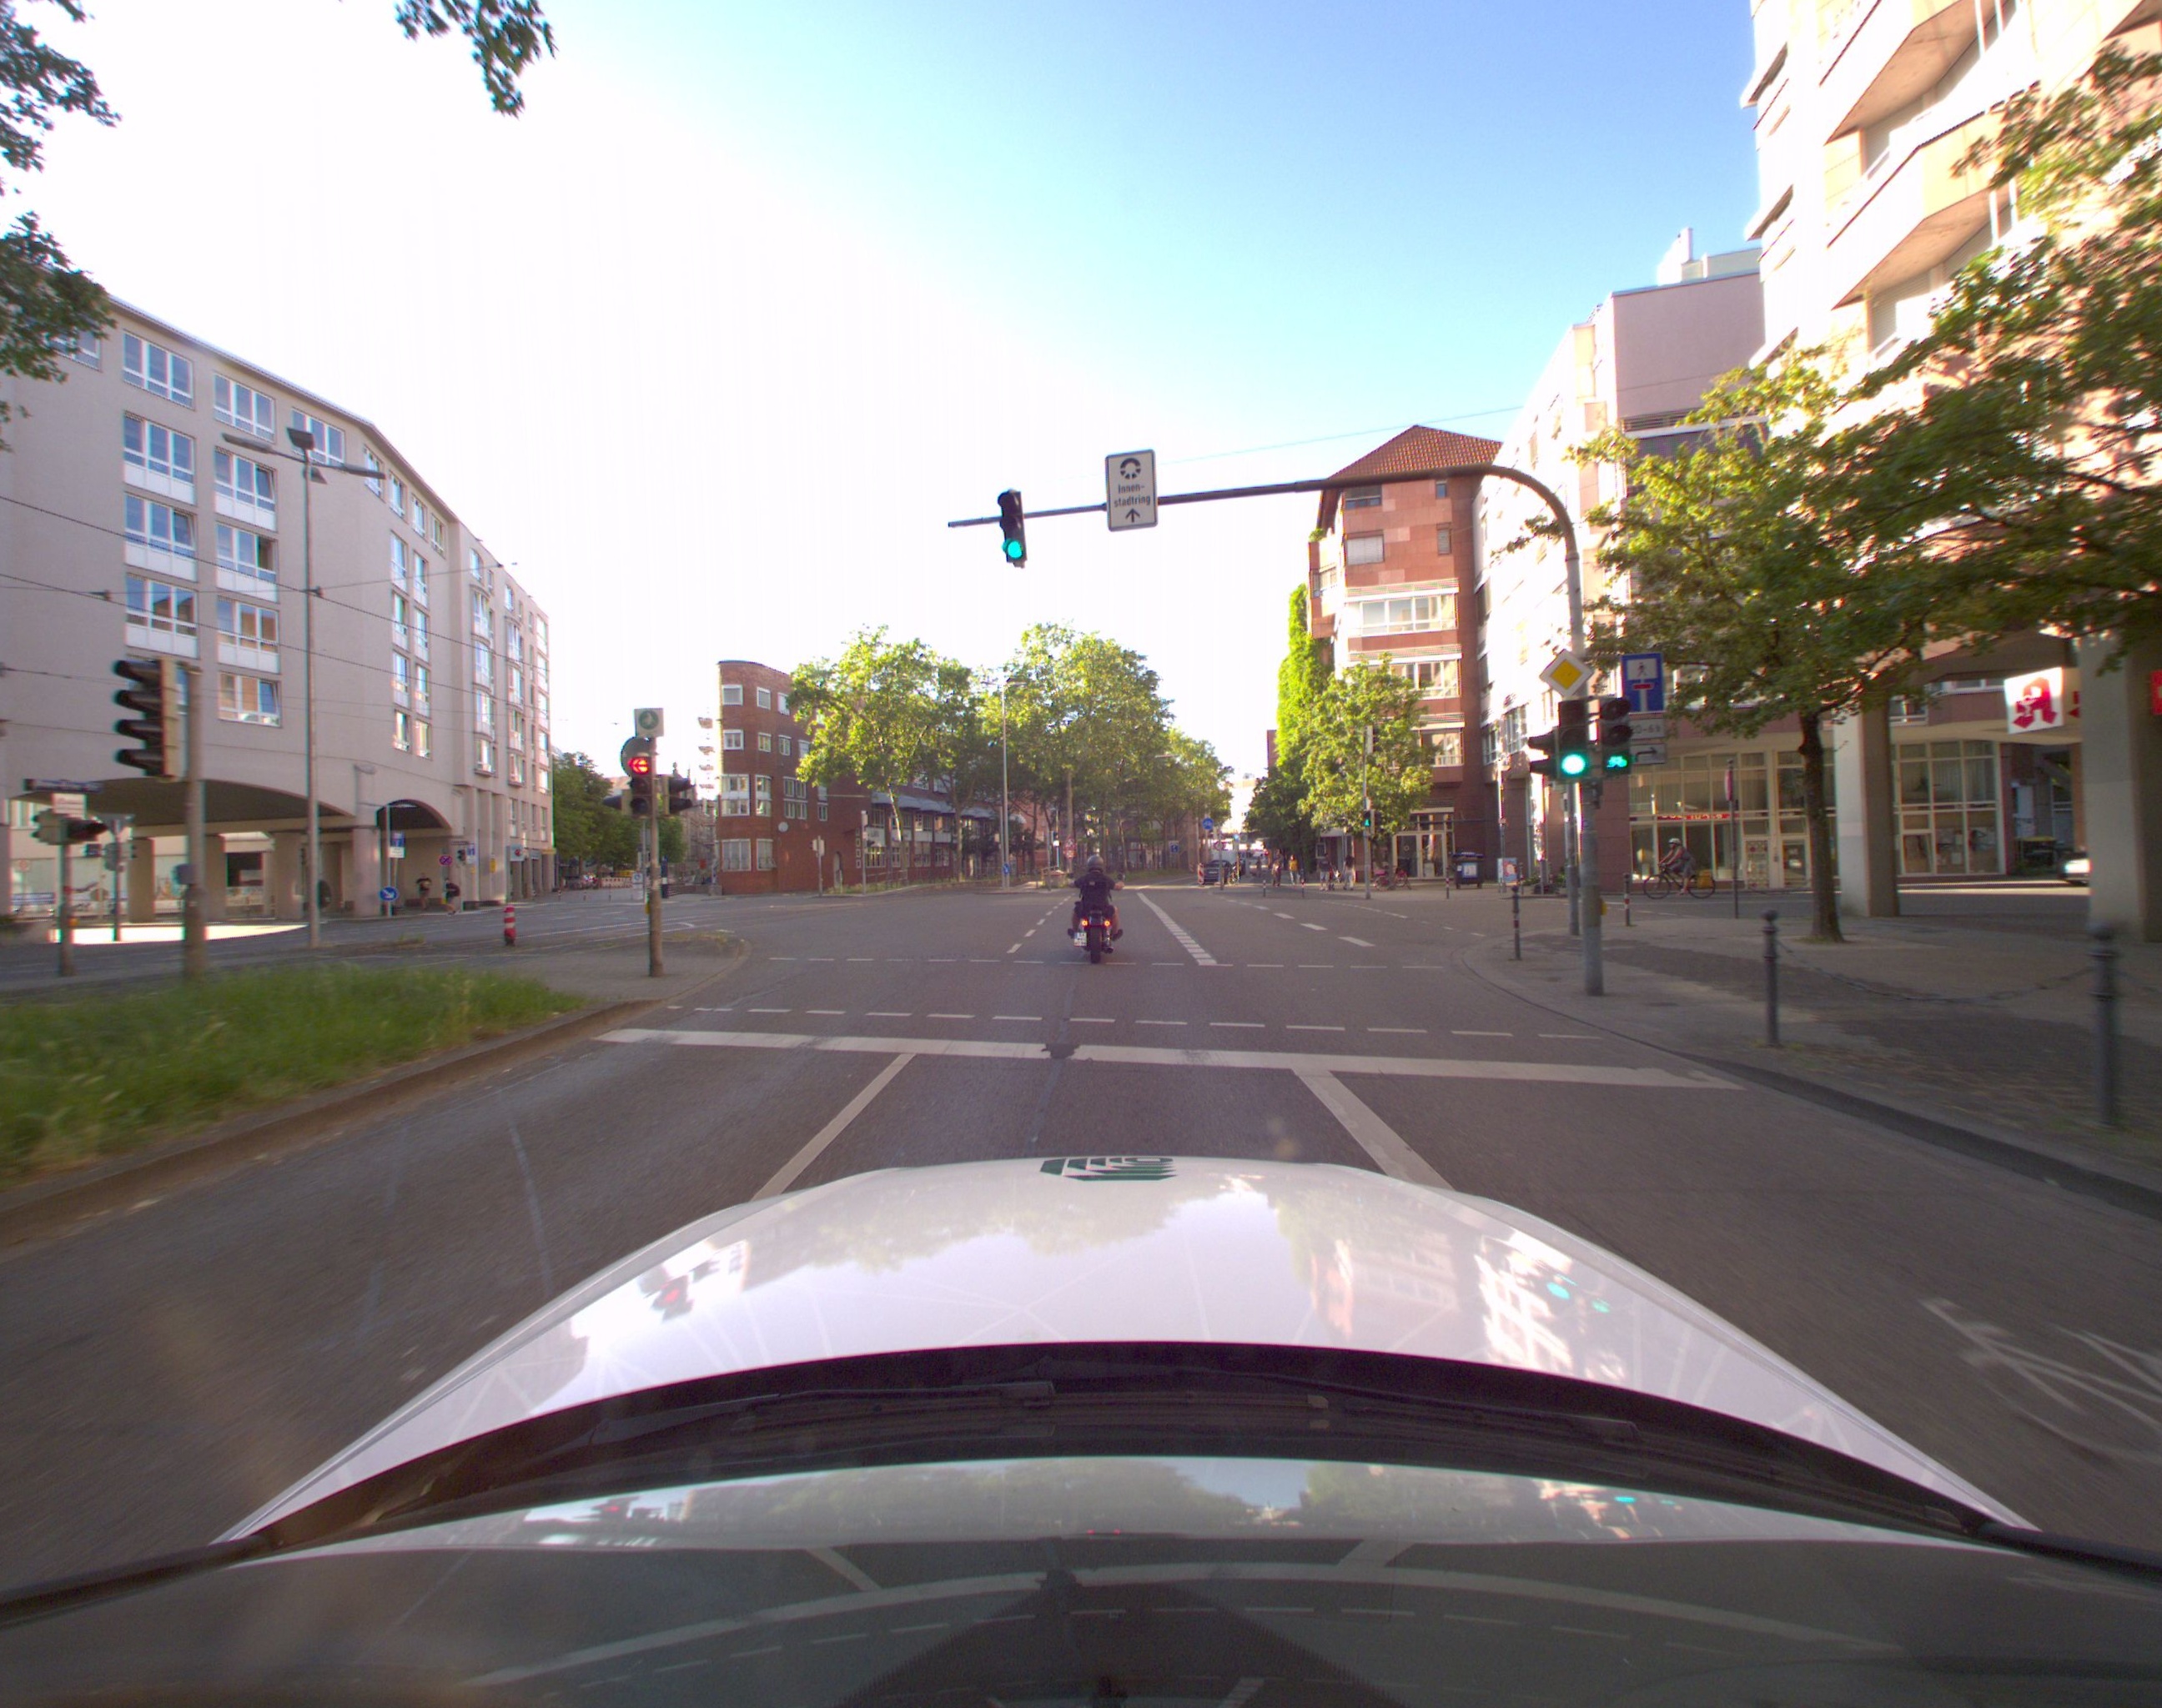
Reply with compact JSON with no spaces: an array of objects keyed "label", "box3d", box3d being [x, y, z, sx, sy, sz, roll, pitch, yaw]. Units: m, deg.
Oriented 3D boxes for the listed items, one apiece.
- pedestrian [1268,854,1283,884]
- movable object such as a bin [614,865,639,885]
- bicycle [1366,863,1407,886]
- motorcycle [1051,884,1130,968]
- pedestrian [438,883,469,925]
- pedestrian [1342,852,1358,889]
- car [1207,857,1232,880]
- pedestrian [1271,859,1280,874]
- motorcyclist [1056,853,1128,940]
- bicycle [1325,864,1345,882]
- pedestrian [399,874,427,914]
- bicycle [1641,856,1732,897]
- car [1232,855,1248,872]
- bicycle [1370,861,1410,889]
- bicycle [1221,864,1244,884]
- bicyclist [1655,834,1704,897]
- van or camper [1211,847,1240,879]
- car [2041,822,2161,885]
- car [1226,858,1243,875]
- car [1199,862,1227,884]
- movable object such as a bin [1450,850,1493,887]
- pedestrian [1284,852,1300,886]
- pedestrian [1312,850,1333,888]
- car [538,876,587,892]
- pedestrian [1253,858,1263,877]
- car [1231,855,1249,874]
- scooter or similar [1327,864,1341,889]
[{"label":"pedestrian","box3d":[10.392,0.799,43.551,0.641,1.578,0.749,-2,-1,6]},{"label":"movable object such as a bin","box3d":[-55.815,2.537,100.101,1.928,2.310,2.776,-2,-1,-12]},{"label":"bicycle","box3d":[14.800,1.012,39.480,1.730,1.053,0.744,-2,-1,30]},{"label":"motorcycle","box3d":[0.193,1.043,12.410,1.013,1.097,2.010,-1,0,5]},{"label":"pedestrian","box3d":[-29.046,2.312,37.699,0.848,1.869,0.756,-2,-1,19]},{"label":"pedestrian","box3d":[12.453,0.748,37.715,0.457,1.672,0.680,-2,-1,3]},{"label":"car","box3d":[10.660,1.094,62.472,1.609,1.619,4.500,-2,-1,12]},{"label":"pedestrian","box3d":[18.795,1.202,78.643,0.760,1.445,0.782,-1,-1,11]},{"label":"motorcyclist","box3d":[0.181,0.625,12.317,1.007,1.263,0.775,1,0,5]},{"label":"bicycle","box3d":[13.951,1.050,44.712,0.733,0.939,1.755,-2,-1,7]},{"label":"pedestrian","box3d":[-34.635,2.082,42.214,0.837,2.014,0.881,-1,-1,-20]},{"label":"bicycle","box3d":[17.379,0.634,23.413,1.903,1.113,0.806,-2,-1,10]},{"label":"car","box3d":[19.196,1.133,98.212,1.823,2.014,4.402,-2,-1,12]},{"label":"bicycle","box3d":[13.831,0.944,36.449,1.558,1.227,0.579,-2,-1,8]},{"label":"bicycle","box3d":[8.491,1.101,45.656,0.736,1.053,1.748,-2,-1,-7]},{"label":"bicyclist","box3d":[17.220,0.323,23.444,0.820,1.770,0.790,-2,-1,10]},{"label":"van or camper","box3d":[12.305,0.779,69.101,2.035,2.541,5.792,-2,-1,12]},{"label":"car","box3d":[30.862,-0.052,23.294,4.158,1.722,1.807,-2,-1,10]},{"label":"car","box3d":[15.417,1.264,81.878,1.610,1.610,3.785,-2,-1,11]},{"label":"car","box3d":[8.560,1.180,52.565,1.610,1.302,4.324,-2,-1,11]},{"label":"movable object such as a bin","box3d":[16.193,0.611,33.796,1.400,1.482,0.875,-2,-1,14]},{"label":"pedestrian","box3d":[11.178,0.785,43.197,0.697,1.733,0.769,-2,-1,6]},{"label":"pedestrian","box3d":[11.328,0.690,38.195,0.781,1.763,0.611,-2,-1,7]},{"label":"car","box3d":[-50.719,2.947,79.729,4.013,1.400,1.980,-1,-1,-31]},{"label":"pedestrian","box3d":[15.158,1.138,69.808,0.759,1.645,0.548,-2,-1,5]},{"label":"car","box3d":[18.023,1.197,92.162,1.823,2.014,4.402,-2,-1,12]},{"label":"scooter or similar","box3d":[11.898,1.052,38.341,0.392,1.158,1.252,-2,-1,8]}]
